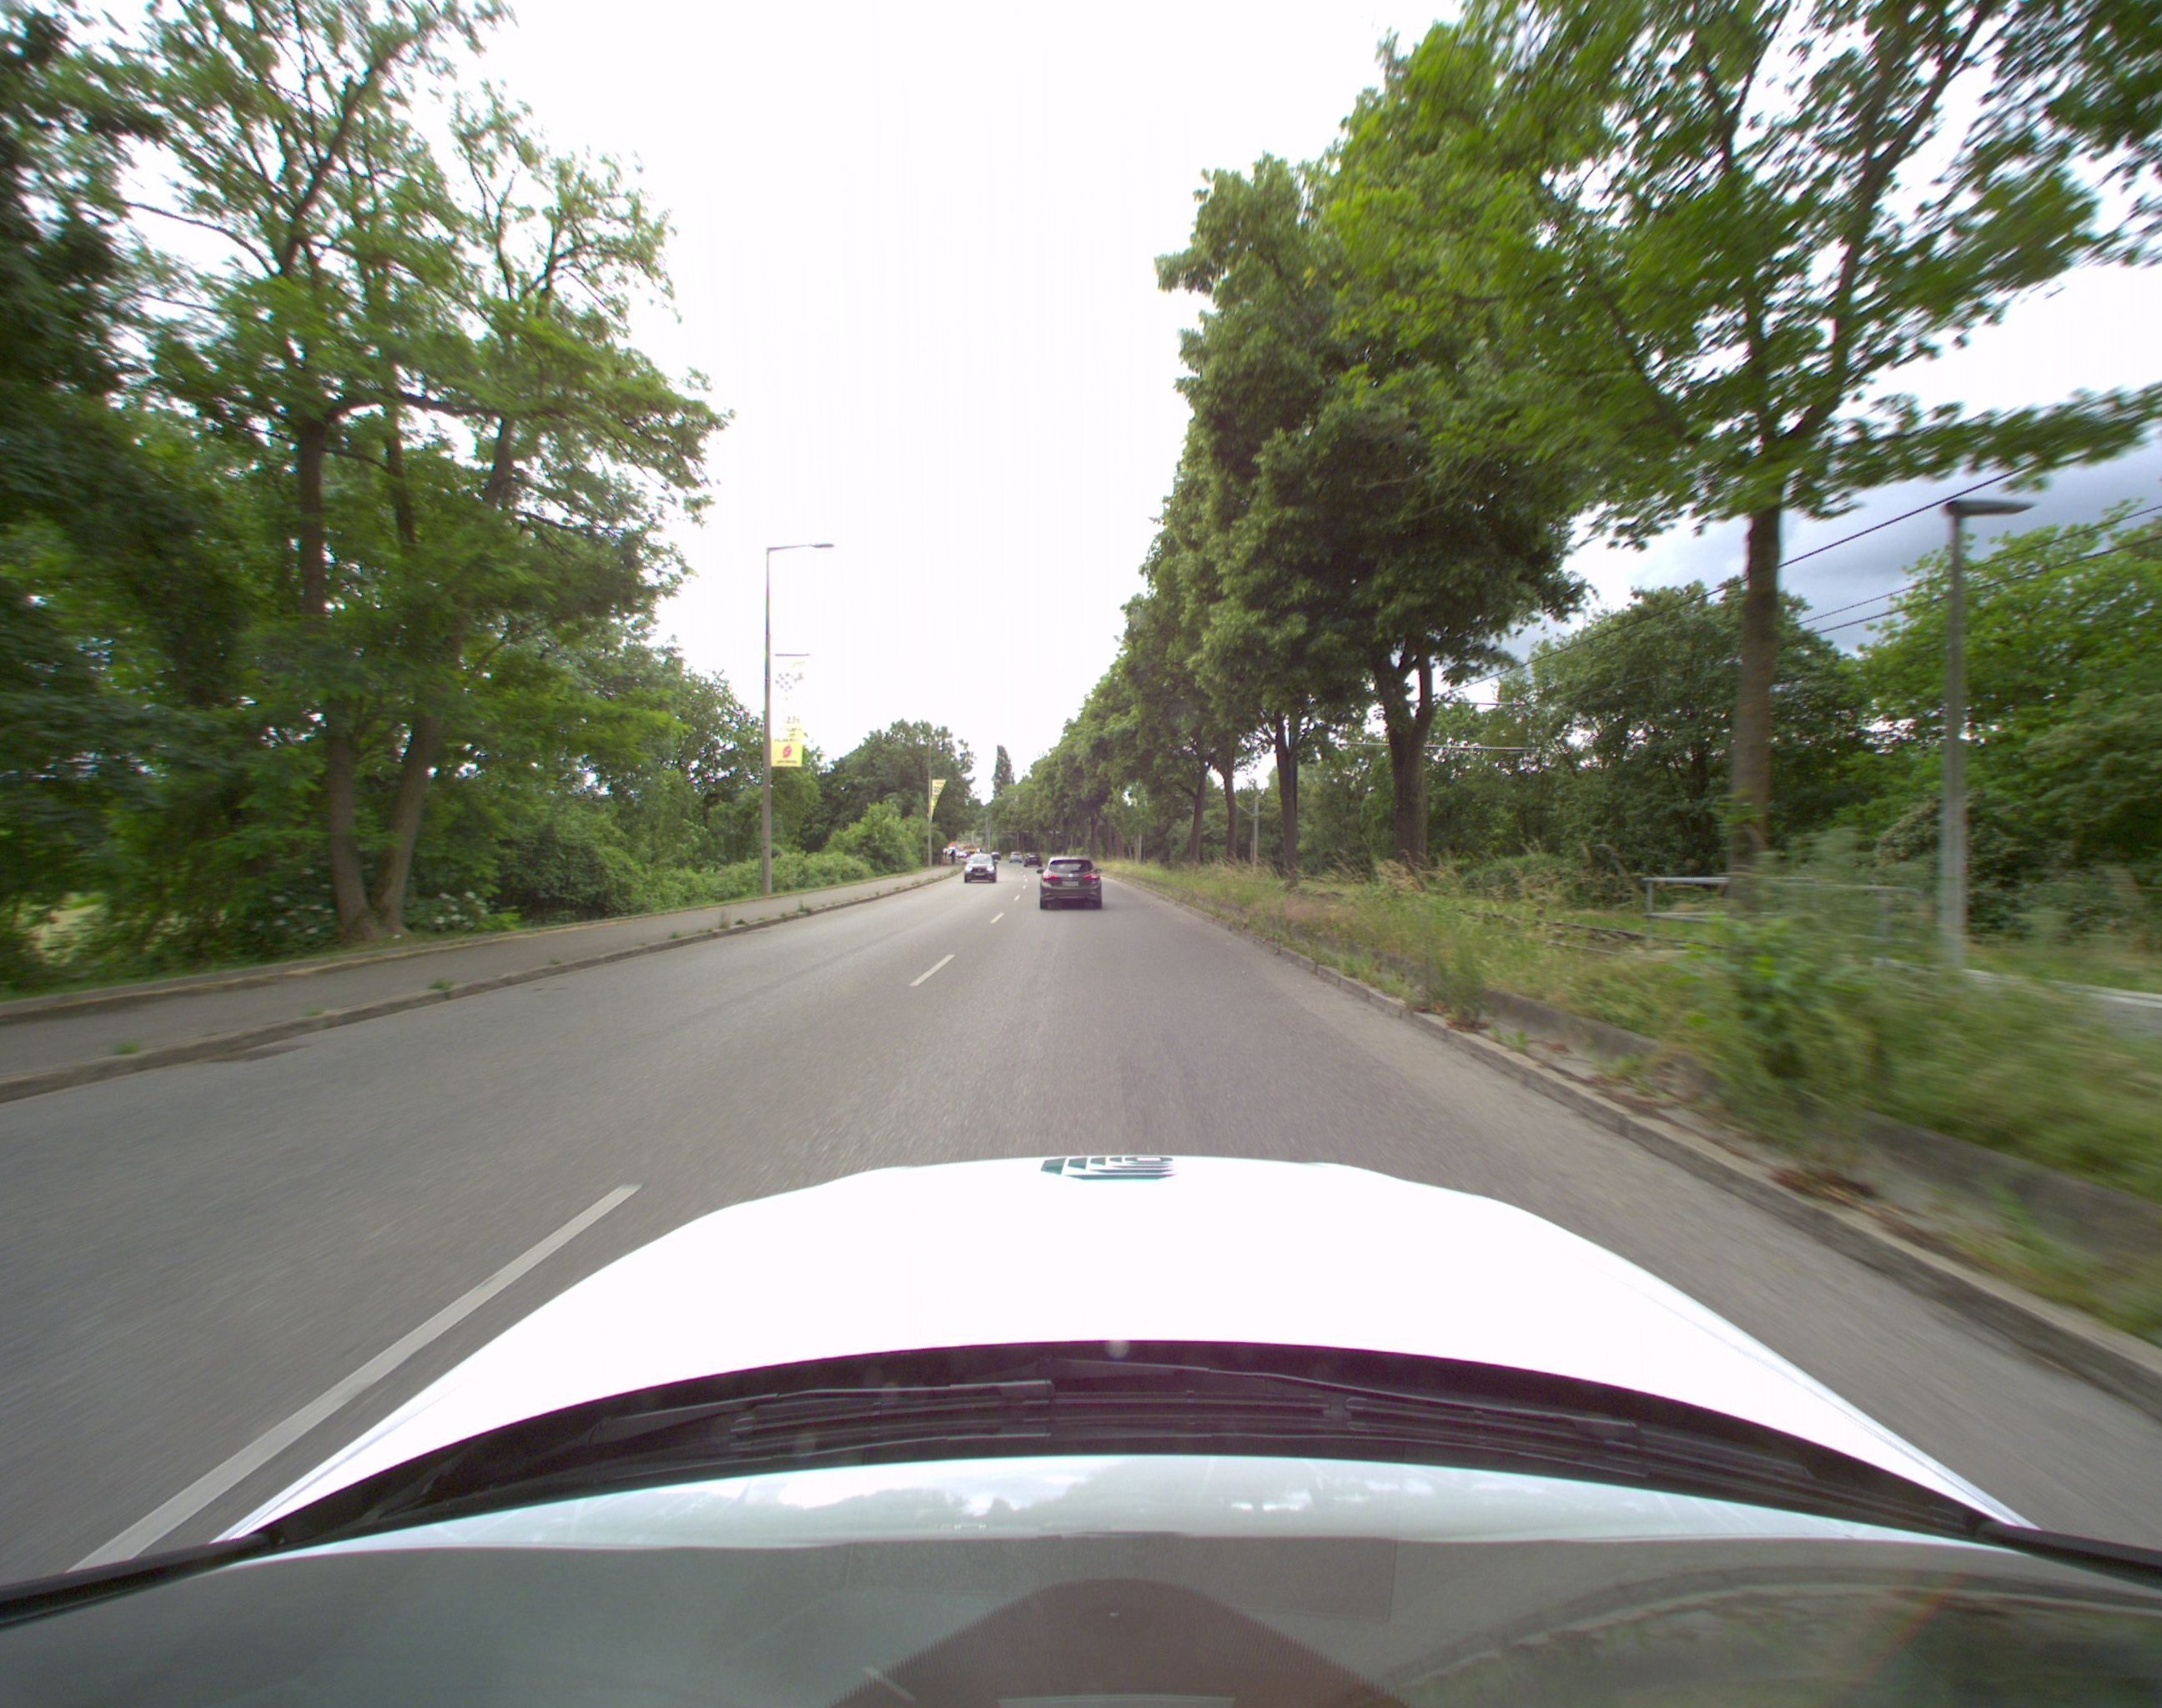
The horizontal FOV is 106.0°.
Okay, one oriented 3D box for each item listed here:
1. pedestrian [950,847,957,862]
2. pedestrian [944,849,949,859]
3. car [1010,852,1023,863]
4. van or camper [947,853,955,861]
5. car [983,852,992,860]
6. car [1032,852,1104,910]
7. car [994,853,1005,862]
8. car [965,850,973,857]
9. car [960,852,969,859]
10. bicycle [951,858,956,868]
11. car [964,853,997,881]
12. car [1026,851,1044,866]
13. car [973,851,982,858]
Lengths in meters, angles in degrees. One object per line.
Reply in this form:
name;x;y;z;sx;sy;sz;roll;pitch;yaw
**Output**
pedestrian;-14.005;0.073;89.594;0.616;1.571;0.848;2;0;-6
pedestrian;-21.979;-0.041;132.739;0.695;1.621;0.683;2;0;-7
car;-9.073;0.505;115.268;1.772;1.472;3.995;2;1;-4
van or camper;-34.048;0.761;212.788;1.926;2.151;3.918;2;1;-11
car;-18.233;0.343;158.850;1.774;1.472;3.992;1;1;-6
car;-0.482;0.726;24.386;1.814;1.508;3.992;0;1;-6
car;-14.548;0.677;145.150;1.775;1.472;3.990;0;1;-8
car;-28.583;-0.123;207.532;1.778;1.472;3.982;2;1;-13
car;-24.994;0.341;174.346;1.748;1.464;3.910;2;0;-7
bicycle;-14.034;0.988;89.612;0.487;1.030;1.122;2;1;-5
car;-5.439;0.686;44.339;1.592;1.506;3.024;0;0;-3
car;-4.827;0.436;85.196;1.772;1.472;3.996;2;1;-3
car;-22.902;0.087;180.047;1.775;1.472;3.990;2;1;-8
